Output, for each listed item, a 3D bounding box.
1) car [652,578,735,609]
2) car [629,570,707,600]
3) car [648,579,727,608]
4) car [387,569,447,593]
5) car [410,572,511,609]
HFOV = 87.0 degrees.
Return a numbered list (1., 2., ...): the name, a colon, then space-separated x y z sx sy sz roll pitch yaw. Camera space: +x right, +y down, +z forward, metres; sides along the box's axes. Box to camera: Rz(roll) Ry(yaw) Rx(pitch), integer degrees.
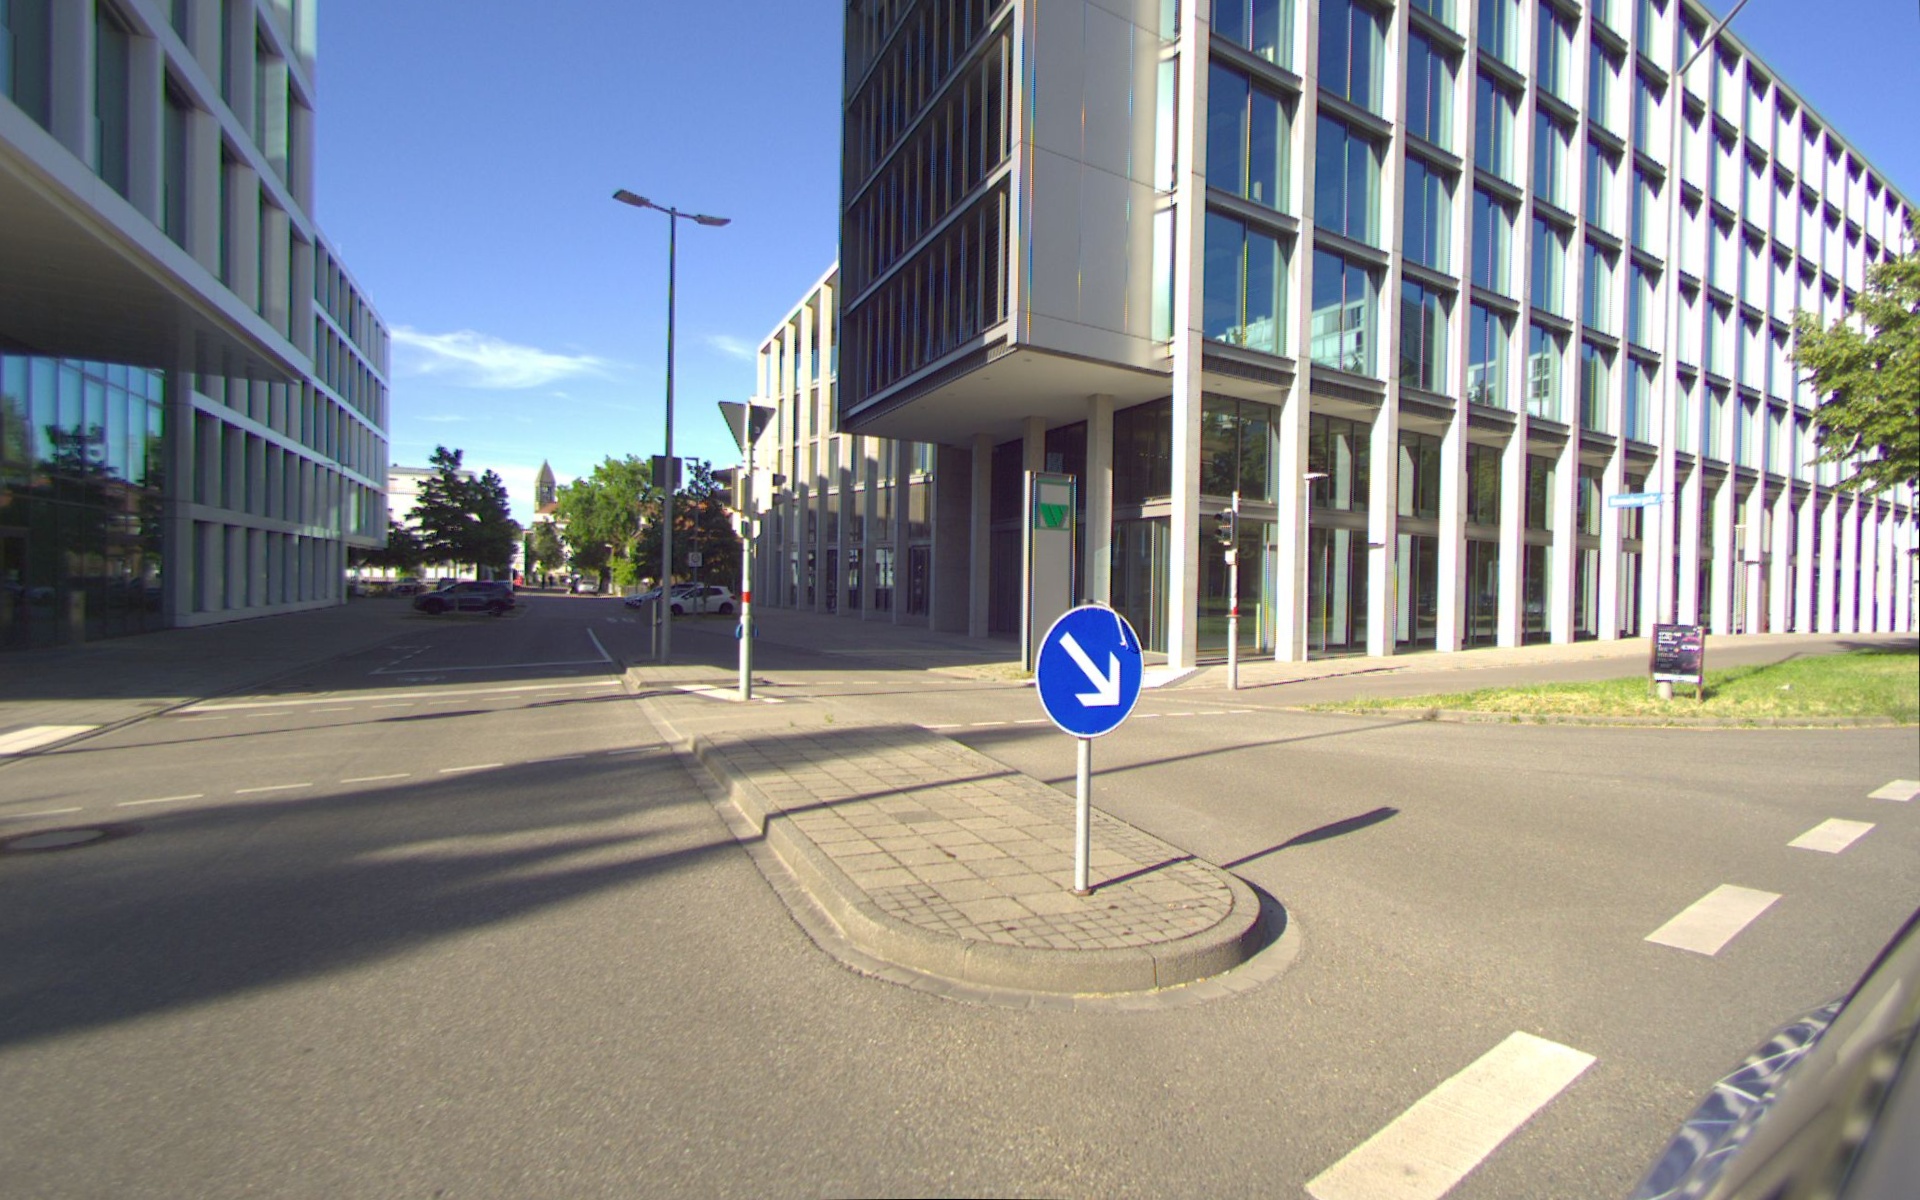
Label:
1. car: -13.732 -0.320 52.104 3.916 1.523 1.663 0 1 -23
2. car: -17.616 -0.915 61.064 4.365 1.749 1.797 0 1 -21
3. car: -14.764 -0.354 54.850 3.916 1.523 1.663 0 1 -23
4. car: -43.410 -1.507 81.021 4.043 1.816 1.873 0 1 -22
5. car: -23.683 -0.447 48.123 4.205 1.734 1.663 0 1 -23
